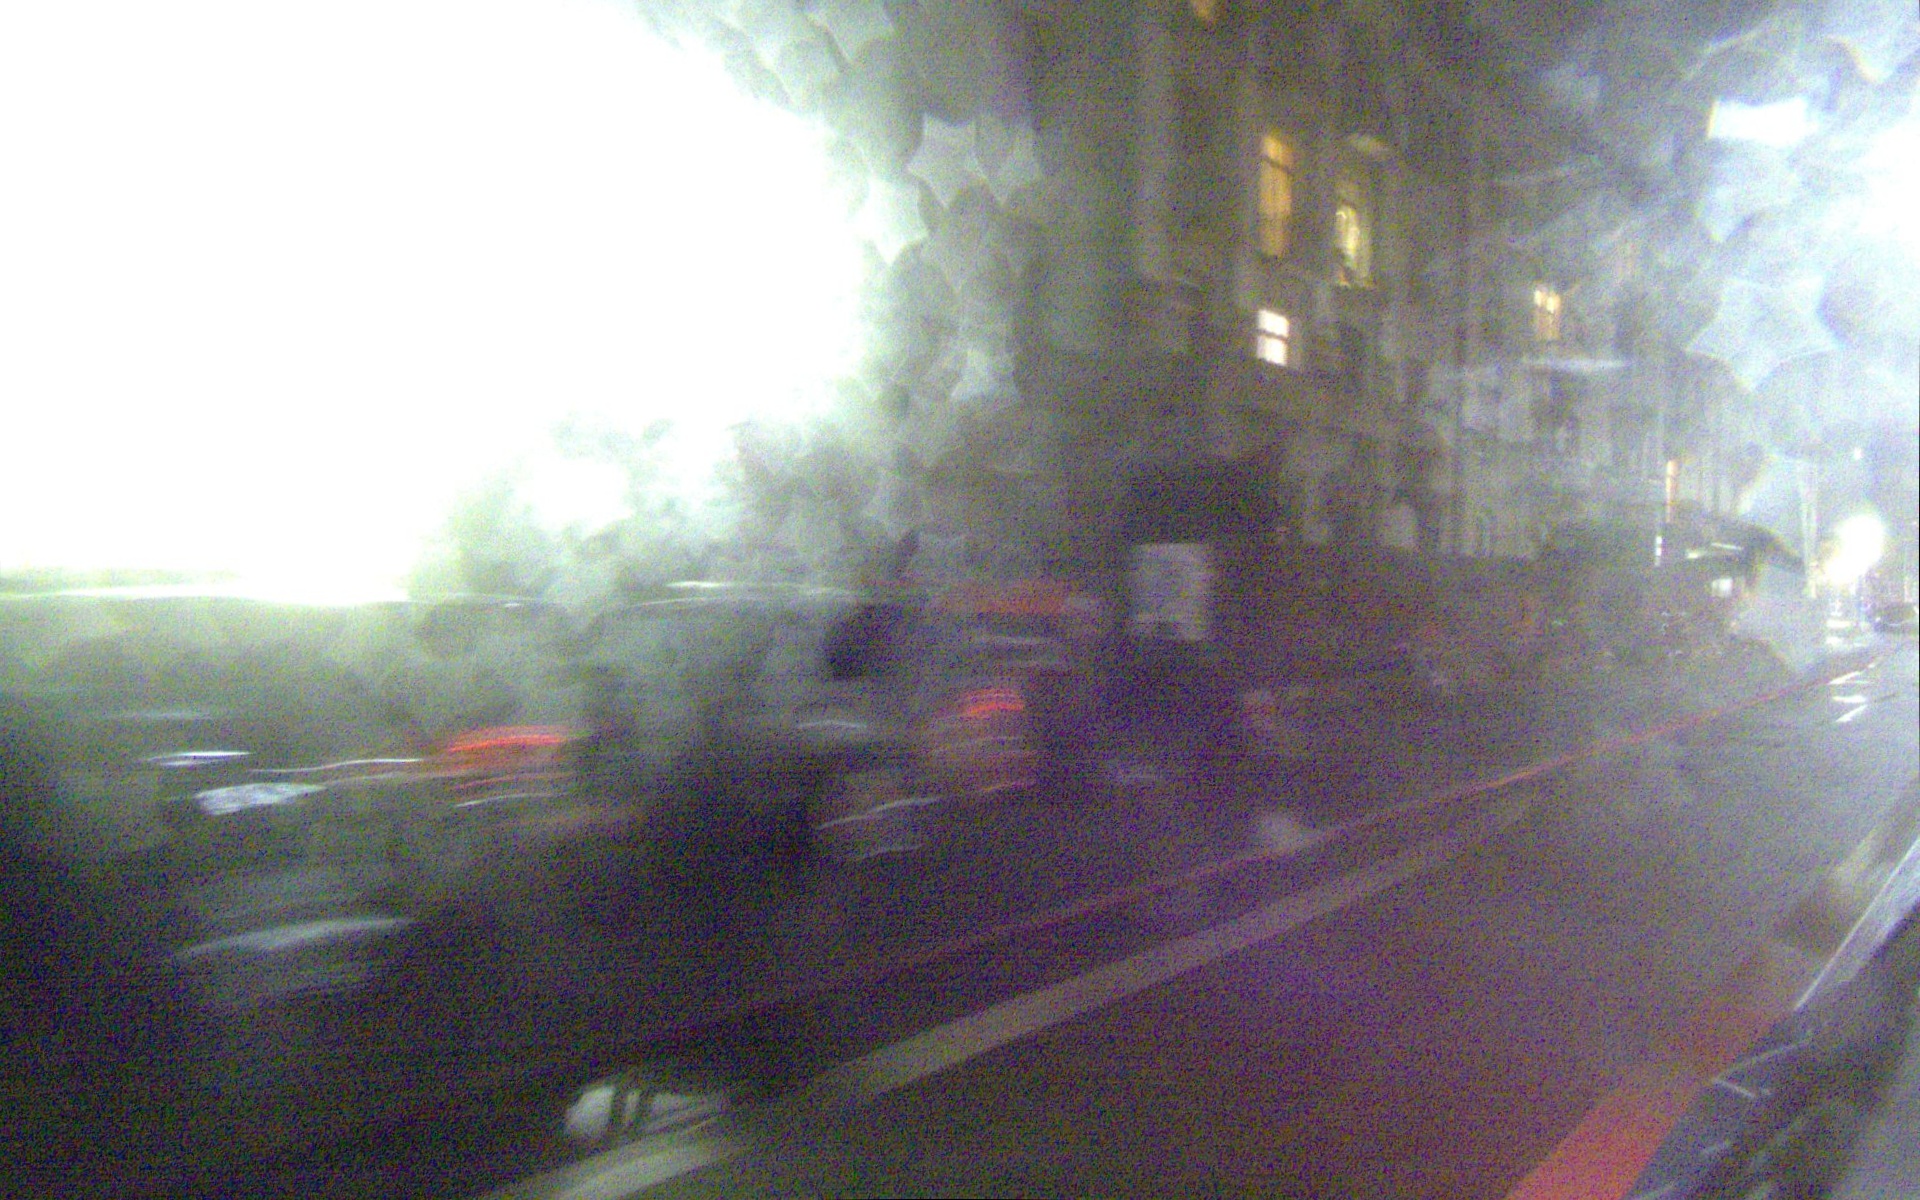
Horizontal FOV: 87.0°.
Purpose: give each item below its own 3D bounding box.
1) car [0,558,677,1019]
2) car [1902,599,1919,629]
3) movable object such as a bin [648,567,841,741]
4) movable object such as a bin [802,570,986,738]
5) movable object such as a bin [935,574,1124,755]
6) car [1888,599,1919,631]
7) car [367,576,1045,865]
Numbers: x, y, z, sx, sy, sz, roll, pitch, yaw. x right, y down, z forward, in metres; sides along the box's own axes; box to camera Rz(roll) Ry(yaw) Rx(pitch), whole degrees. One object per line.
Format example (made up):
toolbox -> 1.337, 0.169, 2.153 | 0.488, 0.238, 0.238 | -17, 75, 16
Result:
car -> -3.362, 0.592, 4.322 | 3.784, 1.507, 1.807 | 1, 1, 2
car -> 52.663, 0.797, 55.219 | 1.649, 1.543, 3.523 | 7, 5, 44
movable object such as a bin -> -1.947, 0.431, 9.130 | 1.390, 1.424, 1.027 | 1, 1, -36
movable object such as a bin -> -0.616, 0.451, 9.551 | 1.400, 1.424, 1.016 | 2, 1, 29
movable object such as a bin -> 0.617, 0.502, 8.876 | 1.341, 1.424, 1.016 | 2, 1, 29
car -> 48.800, 0.780, 51.672 | 3.986, 1.458, 1.649 | 0, 5, -42
car -> -1.369, 0.625, 6.294 | 3.725, 1.476, 1.767 | 0, 0, 7
